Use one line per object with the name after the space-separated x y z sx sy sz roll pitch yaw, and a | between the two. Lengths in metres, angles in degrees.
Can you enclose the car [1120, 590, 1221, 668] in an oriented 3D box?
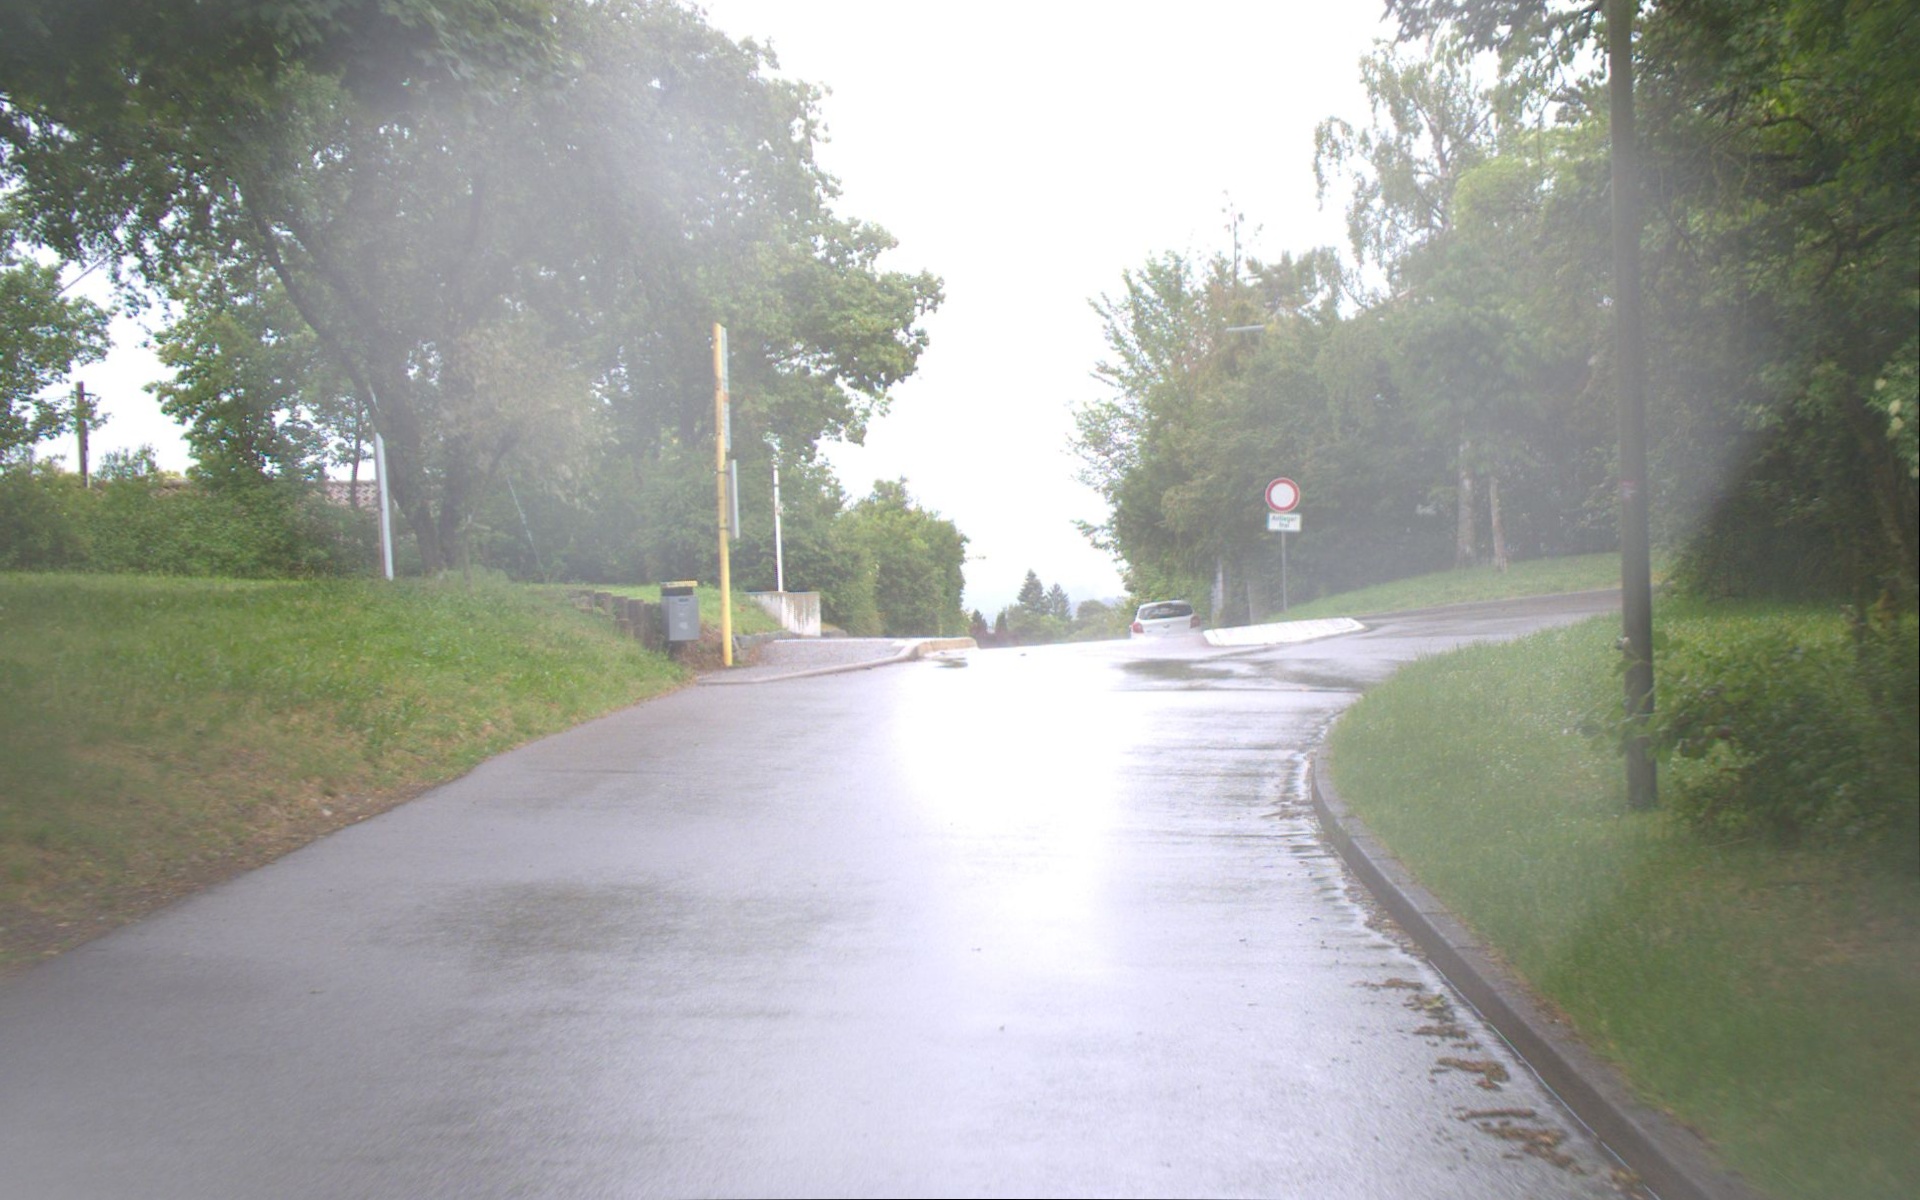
4.851 0.689 78.734 1.994 1.578 3.998 -2 -3 8 | car
